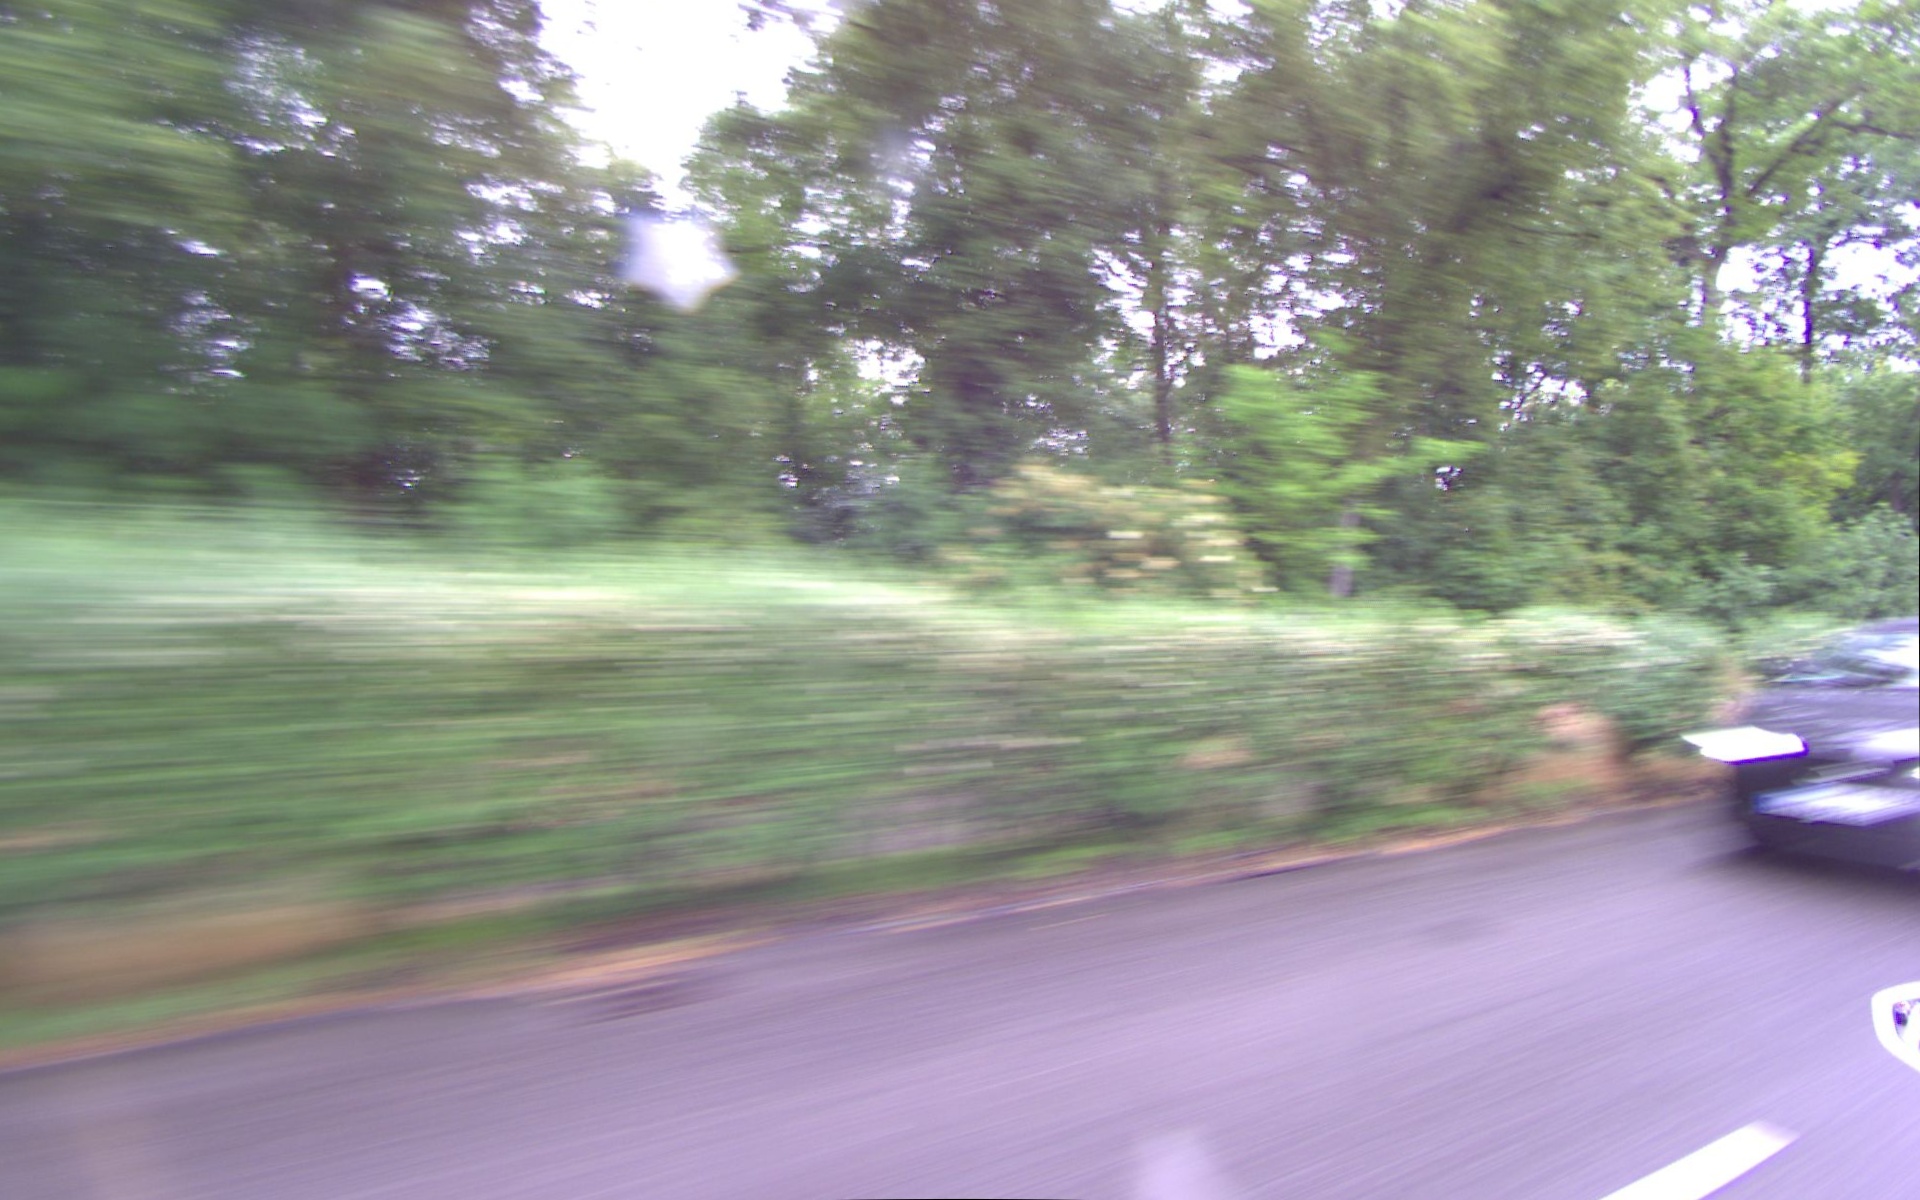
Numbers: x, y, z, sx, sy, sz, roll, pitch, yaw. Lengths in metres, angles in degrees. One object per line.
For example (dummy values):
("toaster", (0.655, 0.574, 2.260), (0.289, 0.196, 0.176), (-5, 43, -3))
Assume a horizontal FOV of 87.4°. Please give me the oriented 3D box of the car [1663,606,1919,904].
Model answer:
("car", (6.793, 0.838, 6.660), (4.379, 1.567, 1.796), (0, -2, -30))
